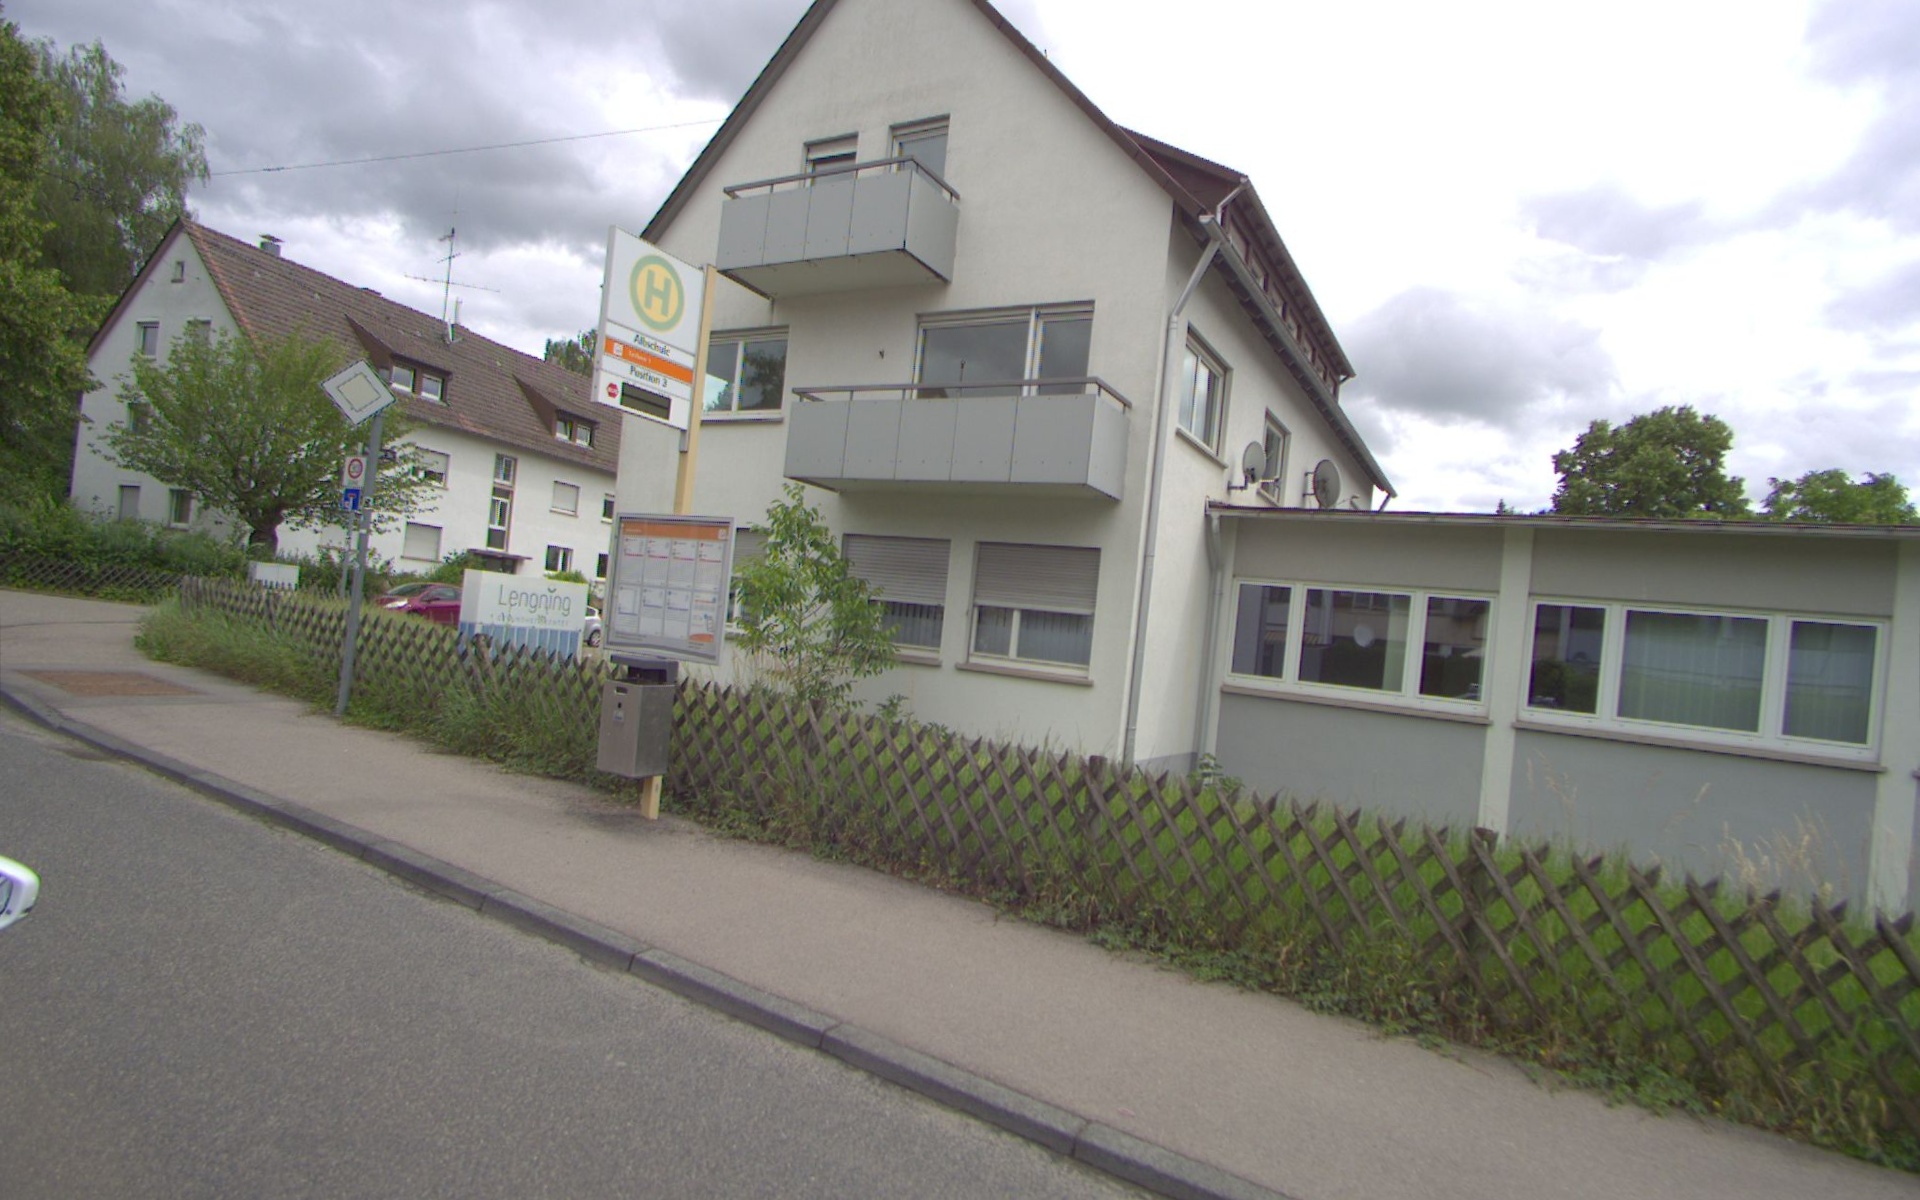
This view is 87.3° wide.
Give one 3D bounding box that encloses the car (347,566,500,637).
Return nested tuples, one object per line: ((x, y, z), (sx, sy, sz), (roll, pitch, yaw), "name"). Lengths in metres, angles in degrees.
((-15.336, 0.091, 28.995), (1.656, 1.580, 3.716), (4, -4, 16), "car")

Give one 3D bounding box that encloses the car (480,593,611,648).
((-13.690, 0.720, 33.422), (1.810, 1.384, 3.743), (5, -4, 22), "car")
